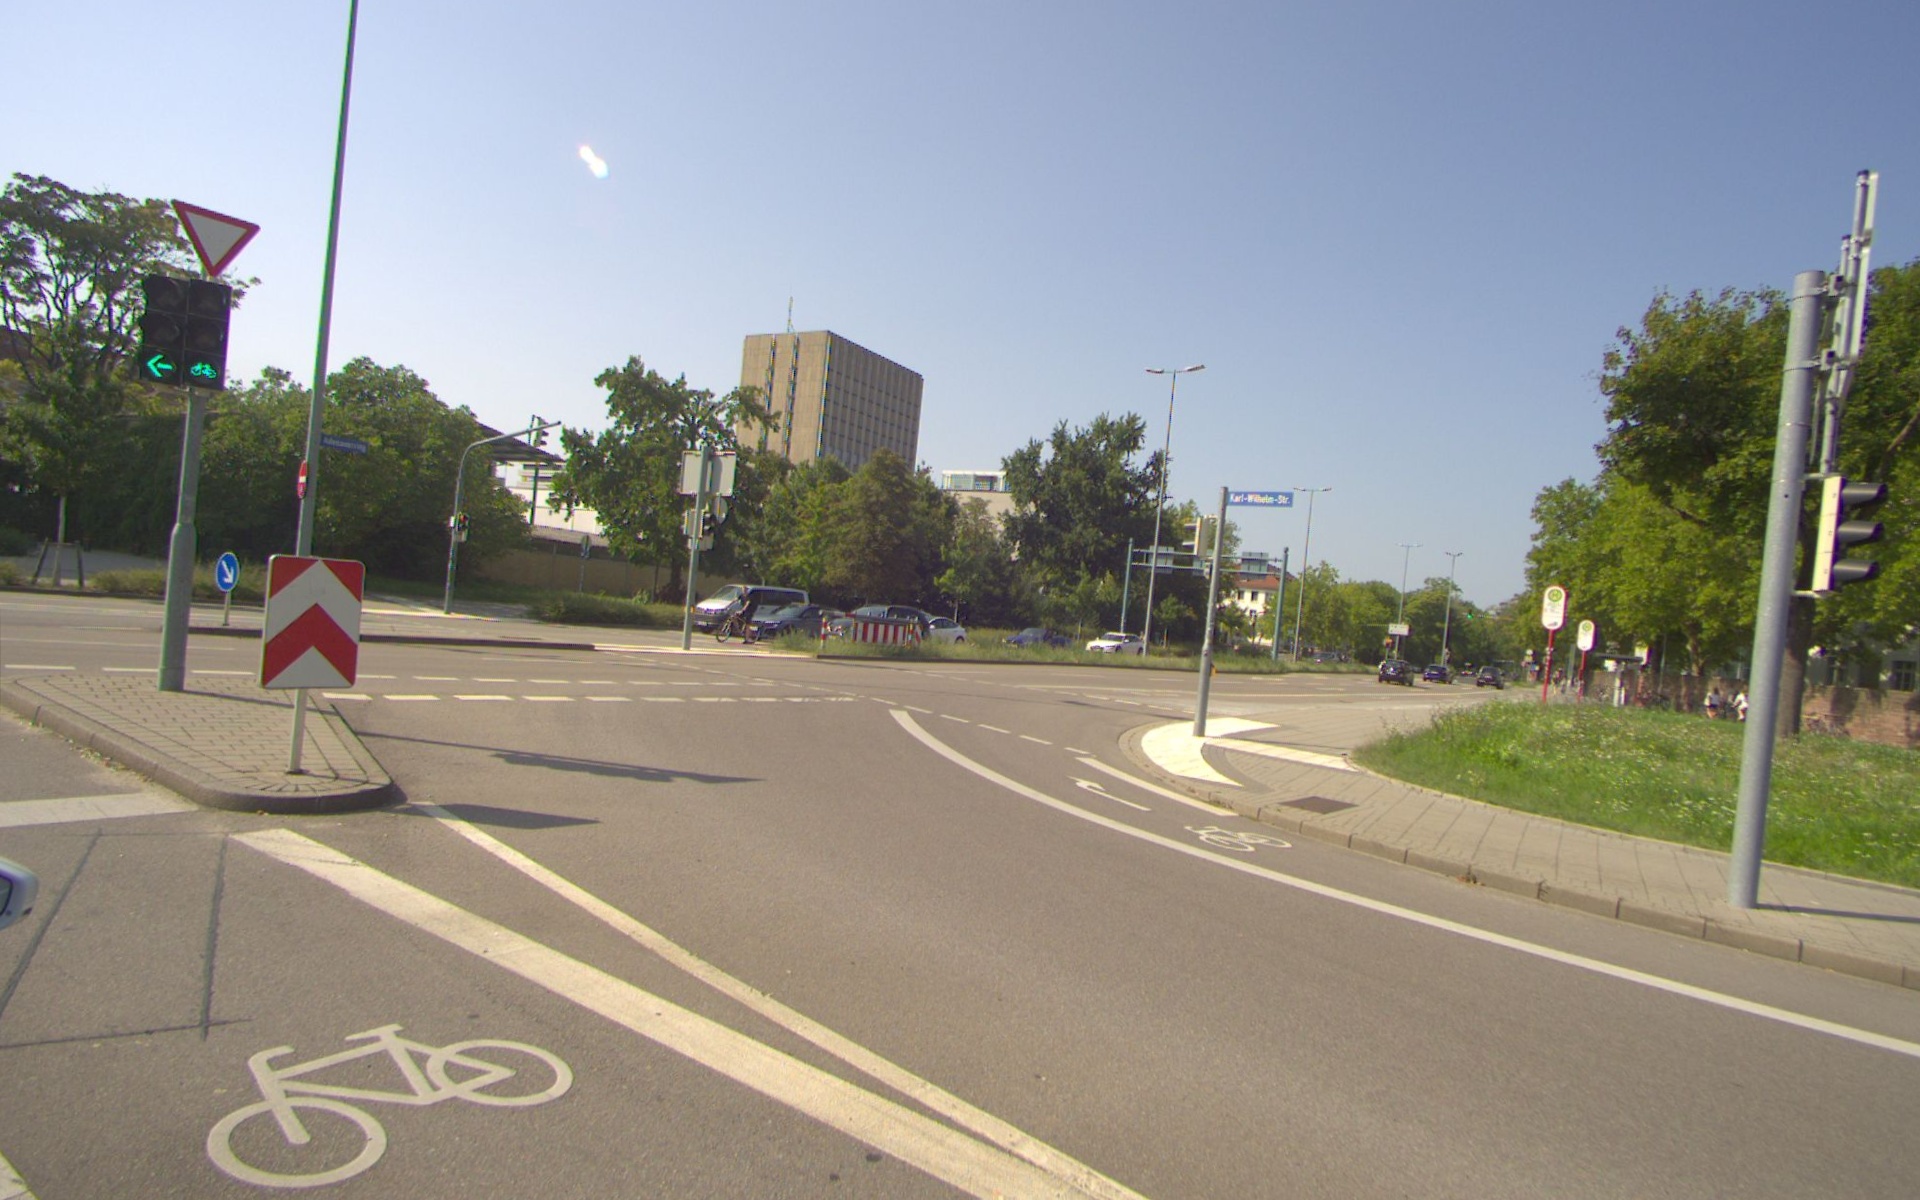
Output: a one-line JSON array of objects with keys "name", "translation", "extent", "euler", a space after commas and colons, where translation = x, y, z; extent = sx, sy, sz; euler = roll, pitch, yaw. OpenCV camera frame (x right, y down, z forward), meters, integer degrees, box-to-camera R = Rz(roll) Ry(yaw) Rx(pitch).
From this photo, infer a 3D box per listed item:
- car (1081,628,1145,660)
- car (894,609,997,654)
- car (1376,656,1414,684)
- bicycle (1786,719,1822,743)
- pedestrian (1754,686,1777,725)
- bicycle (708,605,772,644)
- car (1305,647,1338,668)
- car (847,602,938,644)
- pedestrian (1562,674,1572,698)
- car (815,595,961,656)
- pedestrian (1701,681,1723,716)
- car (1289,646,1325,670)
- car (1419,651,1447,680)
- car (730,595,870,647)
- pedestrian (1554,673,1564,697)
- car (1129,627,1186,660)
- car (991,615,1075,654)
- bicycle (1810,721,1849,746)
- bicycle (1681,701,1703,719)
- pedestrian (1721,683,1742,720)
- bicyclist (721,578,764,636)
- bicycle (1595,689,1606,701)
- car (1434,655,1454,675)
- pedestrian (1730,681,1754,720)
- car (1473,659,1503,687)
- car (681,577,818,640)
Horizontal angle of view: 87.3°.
[{"name": "car", "translation": [8.615, 2.489, 56.364], "extent": [1.901, 1.524, 4.285], "euler": [6, 0, 32]}, {"name": "car", "translation": [-0.566, 1.365, 43.095], "extent": [1.971, 1.524, 4.417], "euler": [6, 0, 38]}, {"name": "car", "translation": [29.168, 4.696, 67.409], "extent": [1.683, 1.593, 3.992], "euler": [6, 0, 31]}, {"name": "bicycle", "translation": [36.603, 5.668, 43.653], "extent": [0.425, 0.846, 1.551], "euler": [6, 0, 11]}, {"name": "pedestrian", "translation": [35.985, 4.712, 44.959], "extent": [0.474, 1.670, 0.595], "euler": [7, -1, 15]}, {"name": "bicycle", "translation": [-6.750, 0.759, 30.927], "extent": [0.758, 1.066, 1.769], "euler": [6, 1, 36]}, {"name": "car", "translation": [33.259, 5.280, 92.534], "extent": [1.901, 1.680, 4.285], "euler": [6, 0, 32]}, {"name": "car", "translation": [-2.984, 1.060, 44.955], "extent": [1.784, 1.524, 3.952], "euler": [6, 0, 38]}, {"name": "pedestrian", "translation": [46.360, 6.532, 76.796], "extent": [0.478, 1.760, 0.504], "euler": [6, -1, 31]}, {"name": "car", "translation": [-2.209, 0.858, 32.056], "extent": [1.828, 1.597, 4.693], "euler": [4, -2, 40]}, {"name": "pedestrian", "translation": [35.719, 4.665, 47.775], "extent": [0.525, 1.589, 0.503], "euler": [7, -1, 13]}, {"name": "car", "translation": [25.981, 4.339, 75.301], "extent": [1.683, 1.593, 3.992], "euler": [6, 0, 31]}, {"name": "car", "translation": [39.385, 5.493, 83.776], "extent": [1.886, 2.036, 4.000], "euler": [6, -2, 26]}, {"name": "car", "translation": [-5.665, 0.790, 36.181], "extent": [1.883, 1.418, 4.900], "euler": [6, 0, 38]}, {"name": "pedestrian", "translation": [45.934, 6.491, 77.131], "extent": [0.478, 1.760, 0.504], "euler": [6, -1, 31]}, {"name": "car", "translation": [12.176, 2.691, 61.860], "extent": [1.901, 1.680, 4.285], "euler": [6, 0, 32]}, {"name": "car", "translation": [3.625, 1.705, 49.134], "extent": [1.970, 1.524, 4.278], "euler": [6, 0, 38]}, {"name": "bicycle", "translation": [36.279, 5.552, 41.979], "extent": [0.425, 0.846, 1.551], "euler": [6, 0, 11]}, {"name": "bicycle", "translation": [39.593, 5.958, 54.419], "extent": [0.426, 0.846, 1.550], "euler": [6, 0, 19]}, {"name": "pedestrian", "translation": [36.560, 4.819, 47.682], "extent": [0.474, 1.670, 0.595], "euler": [7, -1, 15]}, {"name": "bicyclist", "translation": [-6.682, 0.222, 30.929], "extent": [0.737, 1.656, 0.872], "euler": [6, 1, 36]}, {"name": "bicycle", "translation": [48.333, 7.164, 75.914], "extent": [0.426, 0.846, 1.548], "euler": [6, 0, 26]}, {"name": "car", "translation": [58.113, 7.773, 120.832], "extent": [1.886, 2.036, 4.000], "euler": [6, -2, 26]}, {"name": "pedestrian", "translation": [35.048, 4.505, 45.095], "extent": [0.510, 1.670, 0.595], "euler": [7, -1, 15]}, {"name": "car", "translation": [45.814, 6.372, 87.364], "extent": [1.886, 2.036, 4.000], "euler": [6, -2, 26]}, {"name": "car", "translation": [-7.867, 0.367, 38.037], "extent": [1.820, 1.898, 4.953], "euler": [6, 0, 38]}]
